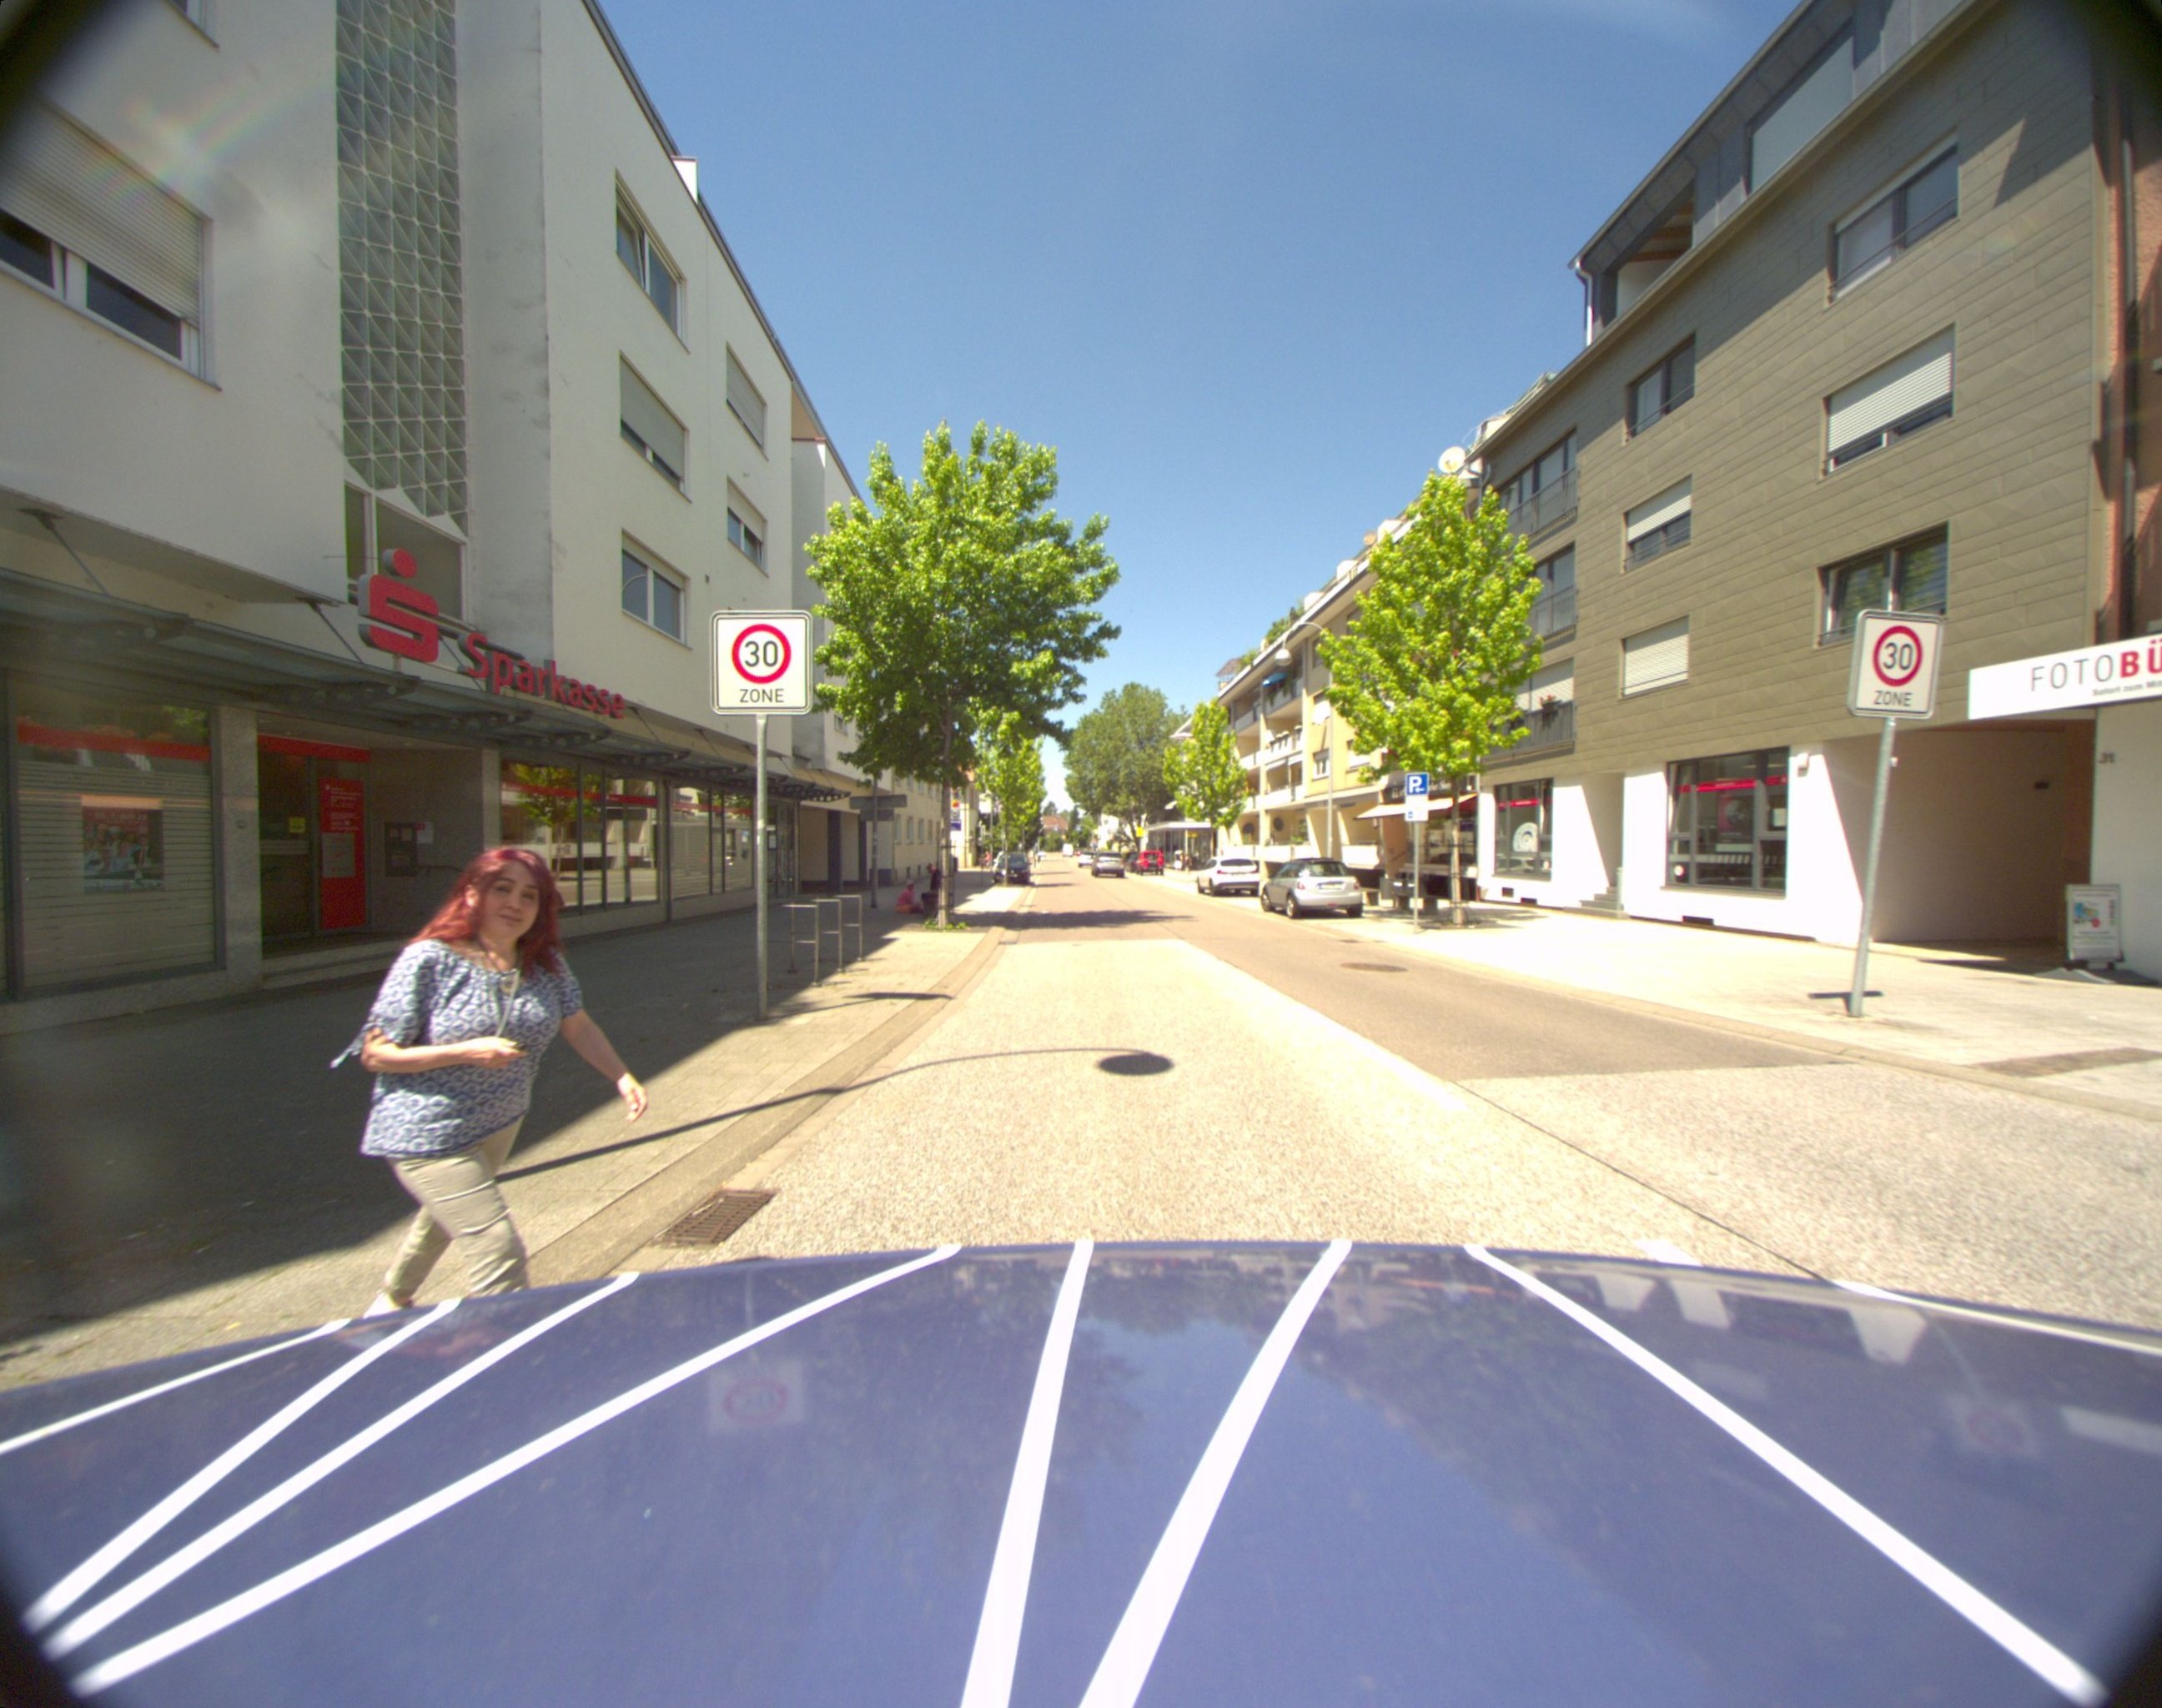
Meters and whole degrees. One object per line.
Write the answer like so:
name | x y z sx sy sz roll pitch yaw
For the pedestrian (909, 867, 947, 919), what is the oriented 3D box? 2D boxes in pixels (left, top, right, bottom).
pedestrian | -3.751 0.947 18.670 0.761 1.233 0.538 1 1 12

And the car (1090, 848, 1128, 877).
car | 1.796 0.522 50.307 1.906 1.744 4.754 1 0 -5

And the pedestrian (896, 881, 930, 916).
pedestrian | -4.289 1.125 19.433 0.678 0.847 0.538 1 1 12

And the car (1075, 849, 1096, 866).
car | 0.384 0.342 73.832 1.776 1.623 4.298 0 0 -3

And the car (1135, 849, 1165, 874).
car | 4.784 0.498 53.194 1.645 1.652 3.369 -2 1 -2

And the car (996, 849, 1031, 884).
car | -3.572 0.601 40.422 1.693 1.712 3.998 2 0 -5

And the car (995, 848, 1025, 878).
car | -4.269 0.523 46.074 1.693 1.712 4.131 0 1 -5

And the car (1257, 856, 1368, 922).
car | 5.698 0.808 19.105 1.626 1.465 3.547 0 1 -2

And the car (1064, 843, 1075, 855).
car | -2.538 -1.108 162.422 2.232 2.452 5.247 0 1 -2

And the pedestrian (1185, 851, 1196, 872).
pedestrian | 7.591 0.519 52.609 0.778 1.490 0.697 0 1 9

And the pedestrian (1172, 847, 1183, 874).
pedestrian | 6.666 0.438 52.299 0.667 1.794 0.686 0 1 13

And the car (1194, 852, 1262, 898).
car | 5.655 0.756 29.730 1.699 1.583 4.298 -2 0 -2

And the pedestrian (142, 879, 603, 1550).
pedestrian | -1.873 0.883 2.106 0.734 1.600 0.559 0 1 0
